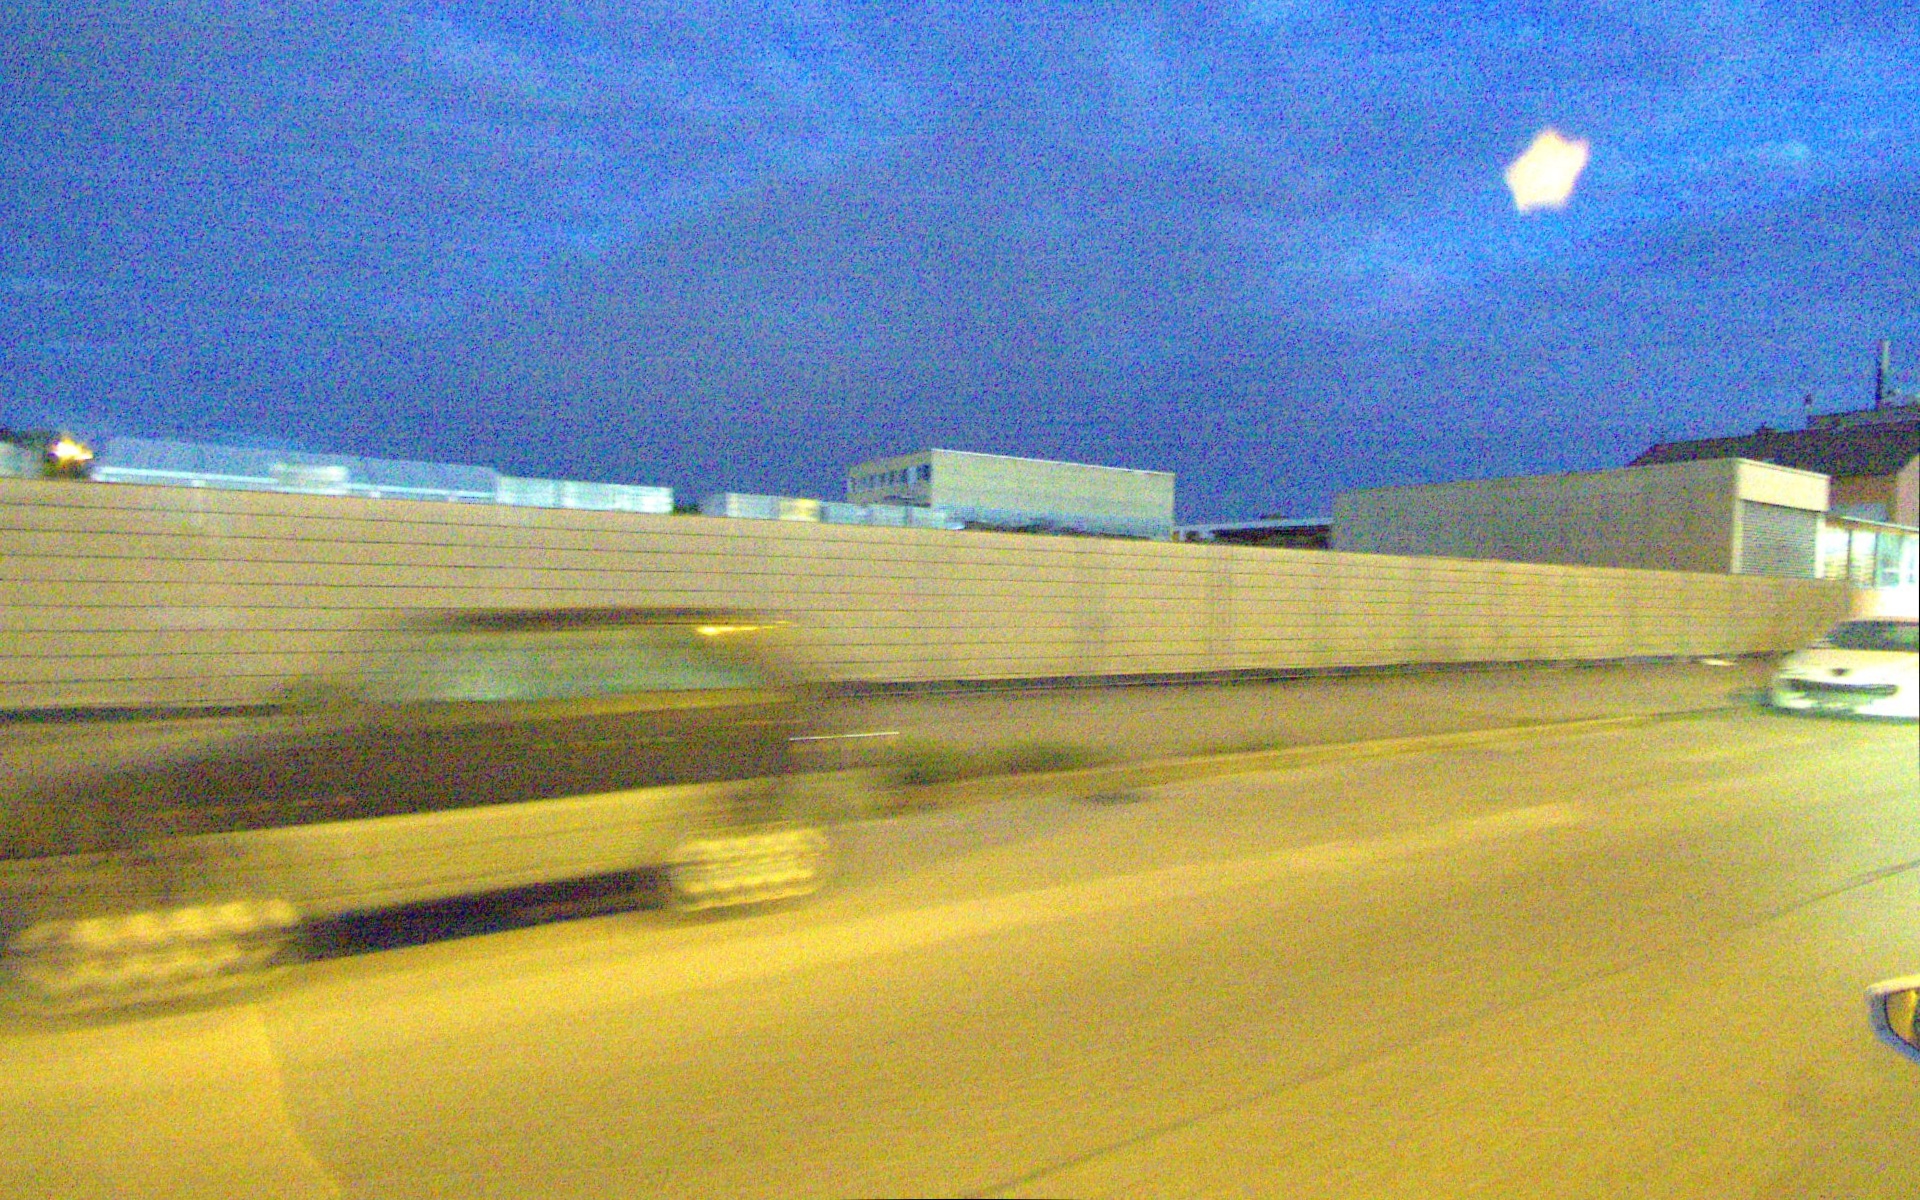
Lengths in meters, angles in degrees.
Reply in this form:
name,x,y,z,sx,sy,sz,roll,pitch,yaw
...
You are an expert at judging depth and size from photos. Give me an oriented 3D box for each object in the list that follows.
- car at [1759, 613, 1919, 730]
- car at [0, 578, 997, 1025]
name,x,y,z,sx,sy,sz,roll,pitch,yaw
car,13.564,0.955,14.529,3.954,1.439,1.832,1,1,-31
car,-1.917,0.638,4.670,3.954,1.372,1.593,1,1,-31
